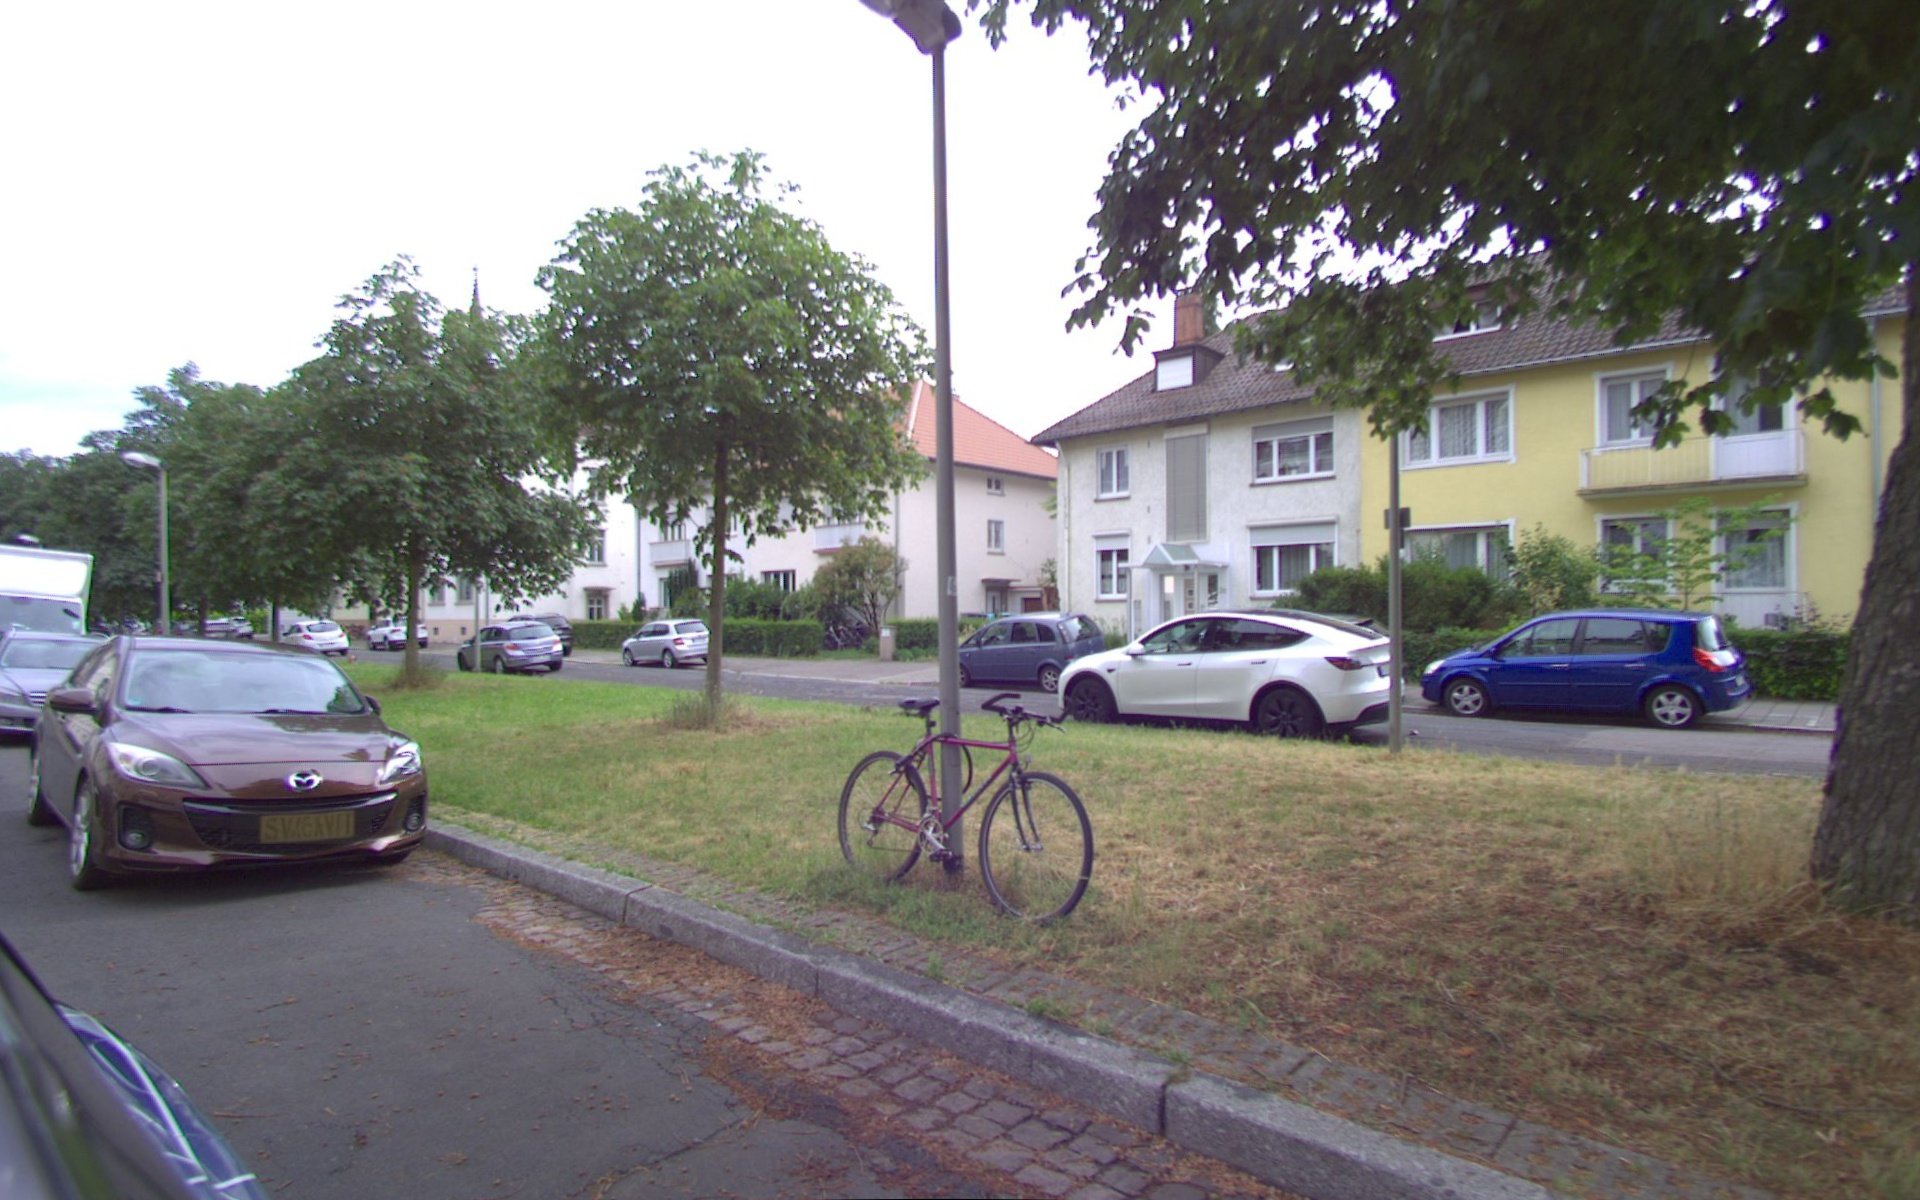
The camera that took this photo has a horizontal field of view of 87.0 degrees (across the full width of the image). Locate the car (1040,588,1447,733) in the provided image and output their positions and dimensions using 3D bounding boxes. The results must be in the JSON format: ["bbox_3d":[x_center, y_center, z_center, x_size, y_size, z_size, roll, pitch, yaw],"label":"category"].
[{"bbox_3d":[3.557,0.693,13.406,4.884,1.578,1.876,-1,-1,43],"label":"car"}]

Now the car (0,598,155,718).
[{"bbox_3d":[-13.021,0.803,14.430,4.448,1.469,1.692,-1,-6,43],"label":"car"}]

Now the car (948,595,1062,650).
[{"bbox_3d":[1.661,0.787,36.391,2.000,1.741,3.943,-1,1,43],"label":"car"}]

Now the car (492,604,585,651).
[{"bbox_3d":[-16.680,1.057,39.972,4.101,1.686,1.780,-1,3,43],"label":"car"}]

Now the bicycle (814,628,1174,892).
[{"bbox_3d":[0.094,0.689,5.119,0.658,1.074,1.886,1,-1,-45],"label":"bicycle"}]

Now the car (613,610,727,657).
[{"bbox_3d":[-9.408,1.041,32.664,3.942,1.365,1.780,-1,0,43],"label":"car"}]

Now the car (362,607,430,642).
[{"bbox_3d":[-28.082,1.181,50.351,4.007,1.619,1.780,-1,0,43],"label":"car"}]

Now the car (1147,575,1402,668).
[{"bbox_3d":[5.729,0.378,18.756,4.167,1.511,1.696,-1,1,43],"label":"car"}]

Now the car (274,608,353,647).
[{"bbox_3d":[-26.583,1.089,41.559,4.007,1.499,1.780,-1,0,43],"label":"car"}]

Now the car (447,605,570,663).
[{"bbox_3d":[-12.932,0.920,28.875,4.007,1.499,1.780,-1,0,43],"label":"car"}]

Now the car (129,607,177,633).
[{"bbox_3d":[-53.672,1.311,67.306,4.007,1.652,1.943,-1,0,43],"label":"car"}]

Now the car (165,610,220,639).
[{"bbox_3d":[-45.295,1.420,59.693,4.007,1.652,1.943,-1,0,43],"label":"car"}]

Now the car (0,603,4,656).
[{"bbox_3d":[-29.362,0.855,29.622,4.149,1.526,1.622,-1,-1,41],"label":"car"}]

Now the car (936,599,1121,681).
[{"bbox_3d":[1.477,0.853,22.720,3.884,1.614,1.696,-1,1,42],"label":"car"}]

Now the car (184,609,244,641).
[{"bbox_3d":[-40.646,1.348,55.087,4.007,1.652,1.943,-1,0,43],"label":"car"}]

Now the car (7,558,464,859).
[{"bbox_3d":[-5.187,0.632,7.013,4.163,1.469,1.692,-1,-6,43],"label":"car"}]

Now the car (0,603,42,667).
[{"bbox_3d":[-24.952,0.871,25.876,4.149,1.526,1.622,-1,-5,41],"label":"car"}]

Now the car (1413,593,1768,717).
[{"bbox_3d":[9.254,0.726,15.119,1.679,1.578,4.214,-1,0,-43],"label":"car"}]

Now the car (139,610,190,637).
[{"bbox_3d":[-50.192,1.457,63.832,4.007,1.652,1.943,-1,0,43],"label":"car"}]

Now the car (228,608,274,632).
[{"bbox_3d":[-52.064,1.464,74.283,4.007,1.652,1.943,-1,0,43],"label":"car"}]

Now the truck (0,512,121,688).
[{"bbox_3d":[-18.934,0.064,20.087,7.112,2.980,2.411,-1,-6,43],"label":"truck"}]
